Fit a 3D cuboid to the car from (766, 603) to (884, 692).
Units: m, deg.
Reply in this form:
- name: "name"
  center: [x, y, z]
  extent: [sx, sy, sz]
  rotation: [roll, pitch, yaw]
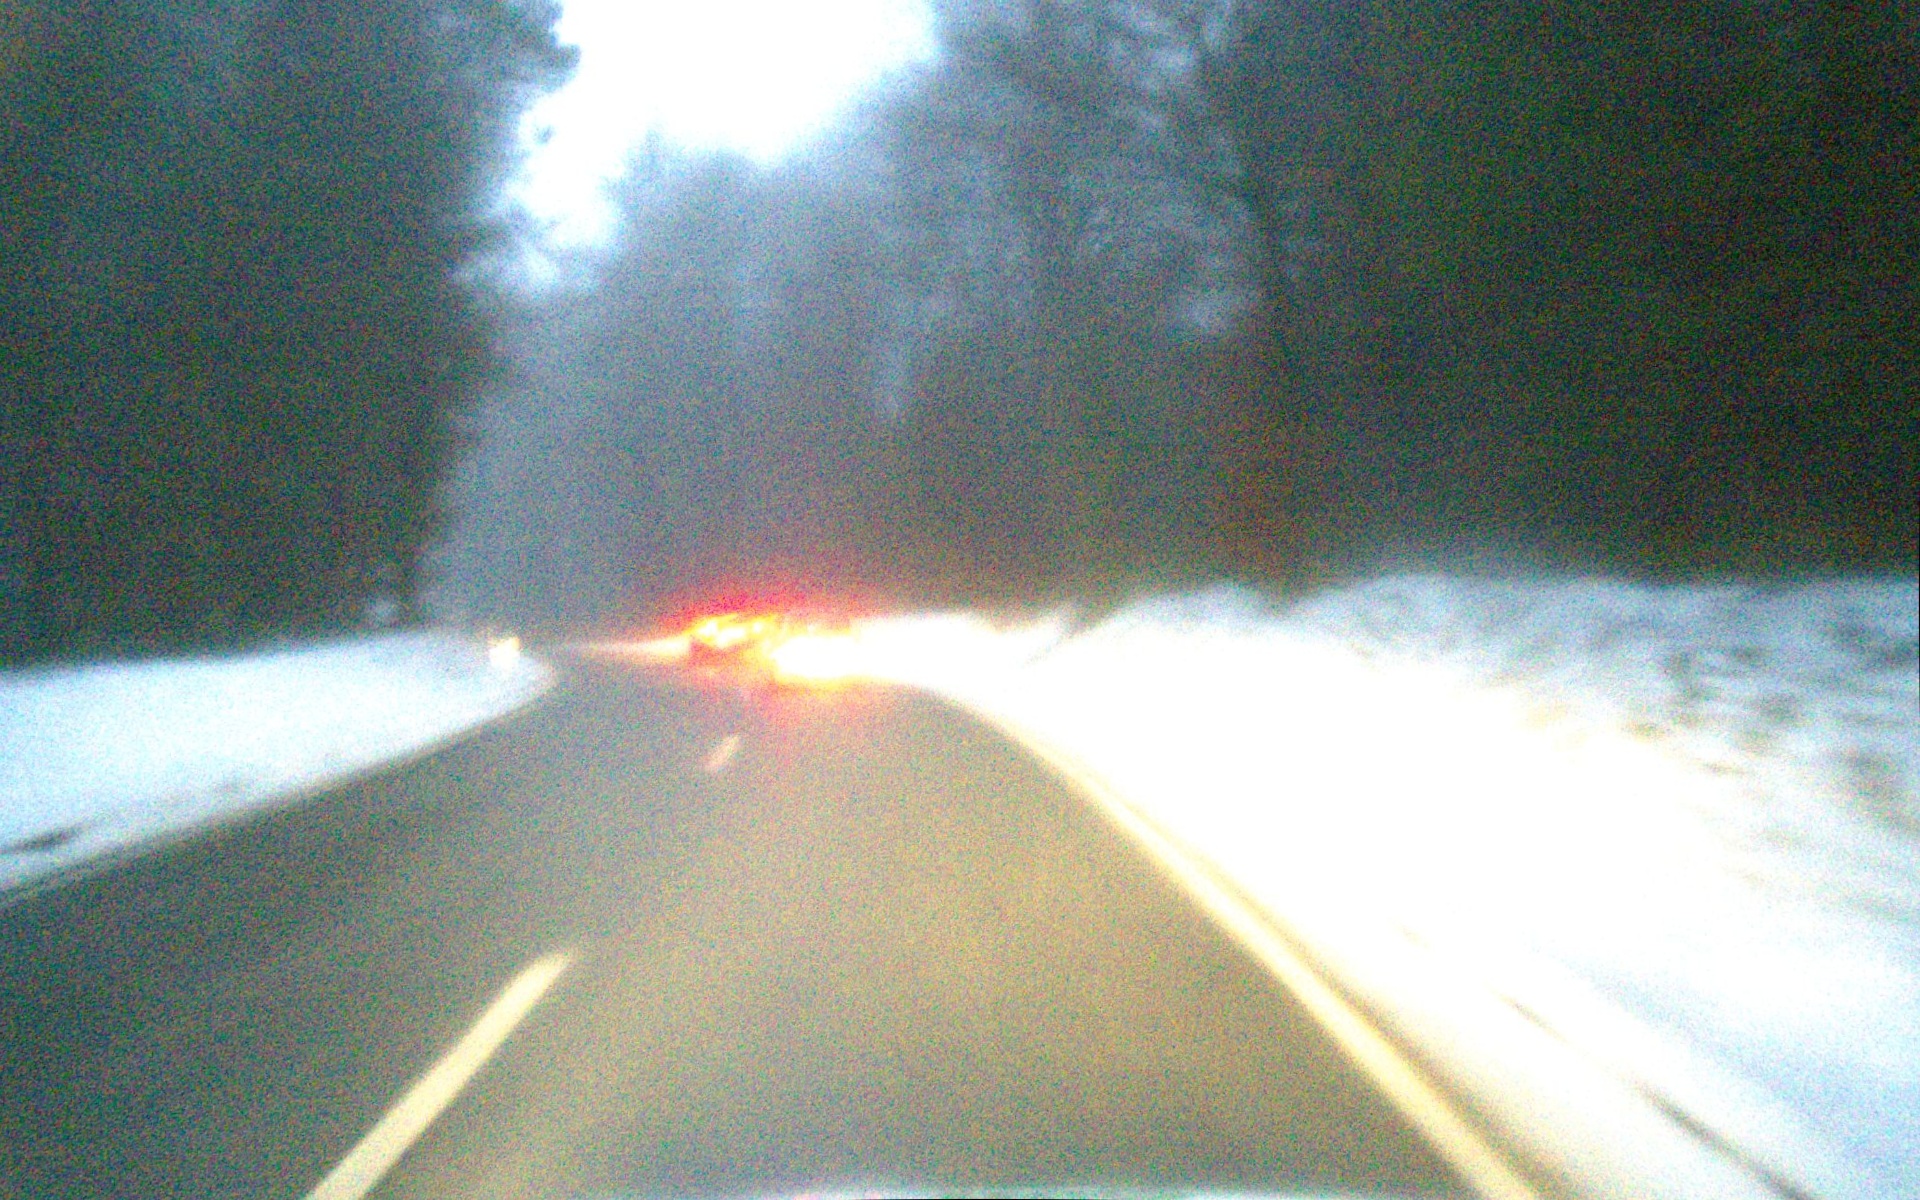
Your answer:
- name: "car"
  center: [-2.505, 0.891, 29.844]
  extent: [1.909, 1.405, 3.993]
  rotation: [3, -3, -7]

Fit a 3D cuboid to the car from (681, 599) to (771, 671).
- name: "car"
  center: [-6.740, 1.051, 47.335]
  extent: [1.961, 1.814, 3.983]
  rotation: [5, -4, -15]
